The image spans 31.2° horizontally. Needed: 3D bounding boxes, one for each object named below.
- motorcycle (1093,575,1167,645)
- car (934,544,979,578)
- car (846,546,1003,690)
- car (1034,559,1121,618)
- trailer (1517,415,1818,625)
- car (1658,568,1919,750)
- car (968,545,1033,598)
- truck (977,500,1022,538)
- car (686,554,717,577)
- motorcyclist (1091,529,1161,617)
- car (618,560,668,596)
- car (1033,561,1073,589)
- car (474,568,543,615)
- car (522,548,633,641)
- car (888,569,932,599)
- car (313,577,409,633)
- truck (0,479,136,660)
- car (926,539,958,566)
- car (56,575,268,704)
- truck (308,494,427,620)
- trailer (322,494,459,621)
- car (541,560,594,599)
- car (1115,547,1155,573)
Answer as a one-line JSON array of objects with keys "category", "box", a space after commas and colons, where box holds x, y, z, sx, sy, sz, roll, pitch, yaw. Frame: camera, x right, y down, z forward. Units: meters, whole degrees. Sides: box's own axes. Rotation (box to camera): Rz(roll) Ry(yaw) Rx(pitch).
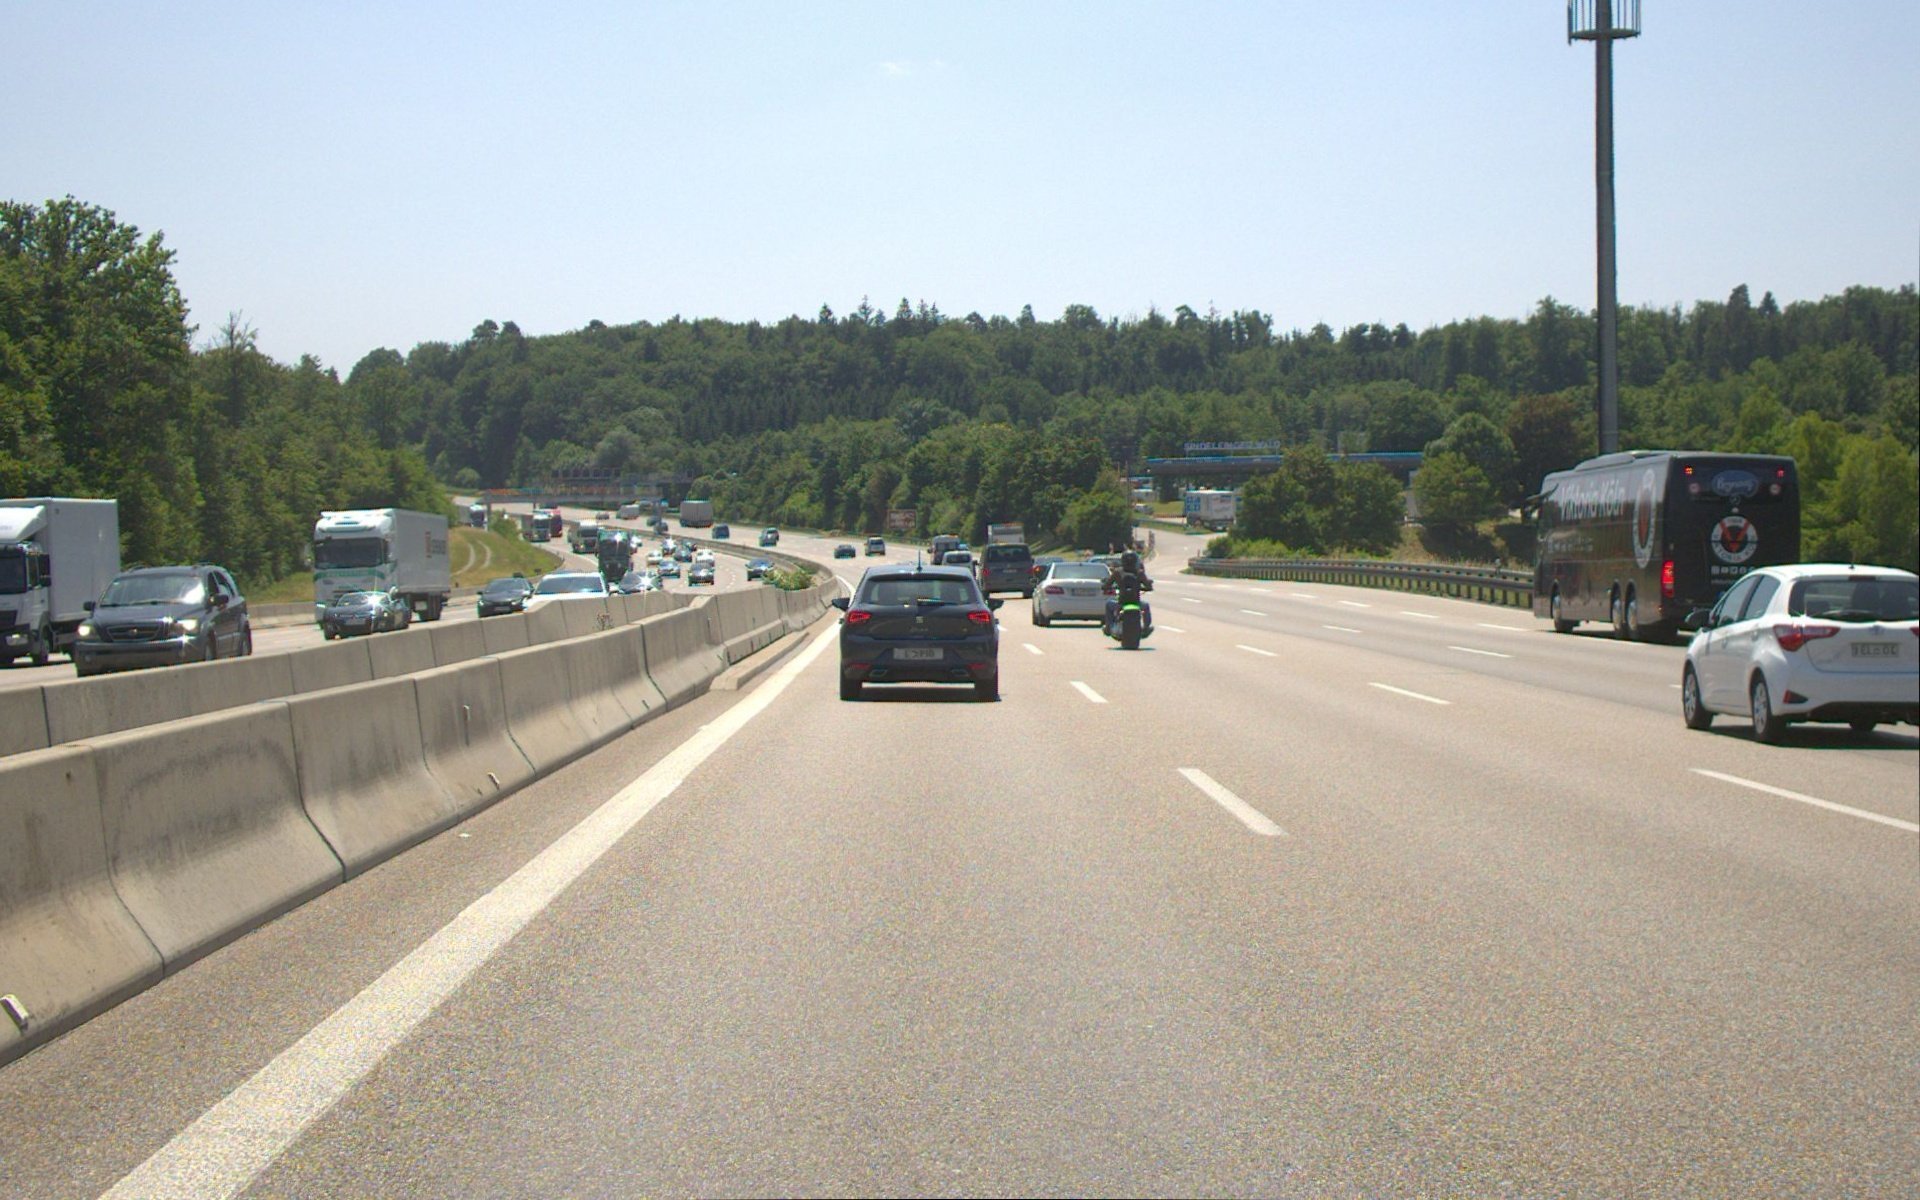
[{"category": "motorcycle", "box": [2.825, 0.151, 57.322, 0.977, 1.125, 2.271, -1, 1, -3]}, {"category": "car", "box": [-0.194, -2.039, 178.707, 1.993, 1.678, 4.425, 1, 2, -5]}, {"category": "car", "box": [-0.378, 0.226, 37.538, 1.624, 1.482, 3.685, 0, -1, 0]}, {"category": "car", "box": [2.614, -0.273, 77.185, 1.782, 1.261, 3.460, -1, 1, -1]}, {"category": "trailer", "box": [13.686, -1.464, 67.906, 2.857, 3.675, 13.543, -1, 0, -1]}, {"category": "car", "box": [7.318, 0.446, 29.526, 1.666, 1.429, 4.376, 0, 1, -1]}, {"category": "car", "box": [1.441, -1.040, 123.266, 2.097, 1.845, 4.081, -1, 1, -3]}, {"category": "truck", "box": [2.921, -6.024, 254.864, 2.726, 2.776, 5.684, 1, 2, -5]}, {"category": "car", "box": [-17.489, -2.330, 232.671, 1.767, 1.473, 4.481, -1, 1, -1]}, {"category": "motorcyclist", "box": [2.767, -0.462, 57.457, 0.962, 1.432, 1.235, -2, 1, -5]}, {"category": "car", "box": [-13.553, -0.971, 147.191, 1.798, 1.476, 4.721, -1, 1, -1]}, {"category": "car", "box": [4.269, -1.155, 158.535, 1.608, 1.208, 3.460, -1, 1, -2]}, {"category": "car", "box": [-15.464, -0.308, 117.817, 1.798, 1.476, 4.397, -2, 1, -1]}, {"category": "car", "box": [-8.362, -0.154, 75.538, 1.774, 1.873, 5.210, 1, 2, 1]}, {"category": "car", "box": [-2.051, -0.657, 139.427, 1.536, 1.208, 3.460, -1, 1, -5]}, {"category": "car", "box": [-15.765, 0.123, 90.683, 1.798, 1.371, 4.532, 0, 1, -1]}, {"category": "truck", "box": [-19.703, -0.622, 72.719, 2.539, 3.559, 8.578, -3, 1, -1]}, {"category": "car", "box": [-1.367, -3.614, 260.460, 1.993, 2.006, 4.675, 1, 2, -5]}, {"category": "car", "box": [-11.547, 0.531, 50.063, 1.993, 1.728, 4.925, -1, 1, -1]}, {"category": "truck", "box": [-20.327, -1.486, 118.328, 2.715, 4.085, 7.877, -3, 1, -1]}, {"category": "trailer", "box": [-20.452, -1.541, 124.379, 2.642, 4.210, 14.363, -3, 1, -1]}, {"category": "car", "box": [-17.612, -0.915, 154.422, 1.798, 1.637, 5.079, -2, 0, -1]}, {"category": "car", "box": [8.509, -1.934, 167.097, 1.608, 1.208, 3.460, -1, 1, -2]}]
